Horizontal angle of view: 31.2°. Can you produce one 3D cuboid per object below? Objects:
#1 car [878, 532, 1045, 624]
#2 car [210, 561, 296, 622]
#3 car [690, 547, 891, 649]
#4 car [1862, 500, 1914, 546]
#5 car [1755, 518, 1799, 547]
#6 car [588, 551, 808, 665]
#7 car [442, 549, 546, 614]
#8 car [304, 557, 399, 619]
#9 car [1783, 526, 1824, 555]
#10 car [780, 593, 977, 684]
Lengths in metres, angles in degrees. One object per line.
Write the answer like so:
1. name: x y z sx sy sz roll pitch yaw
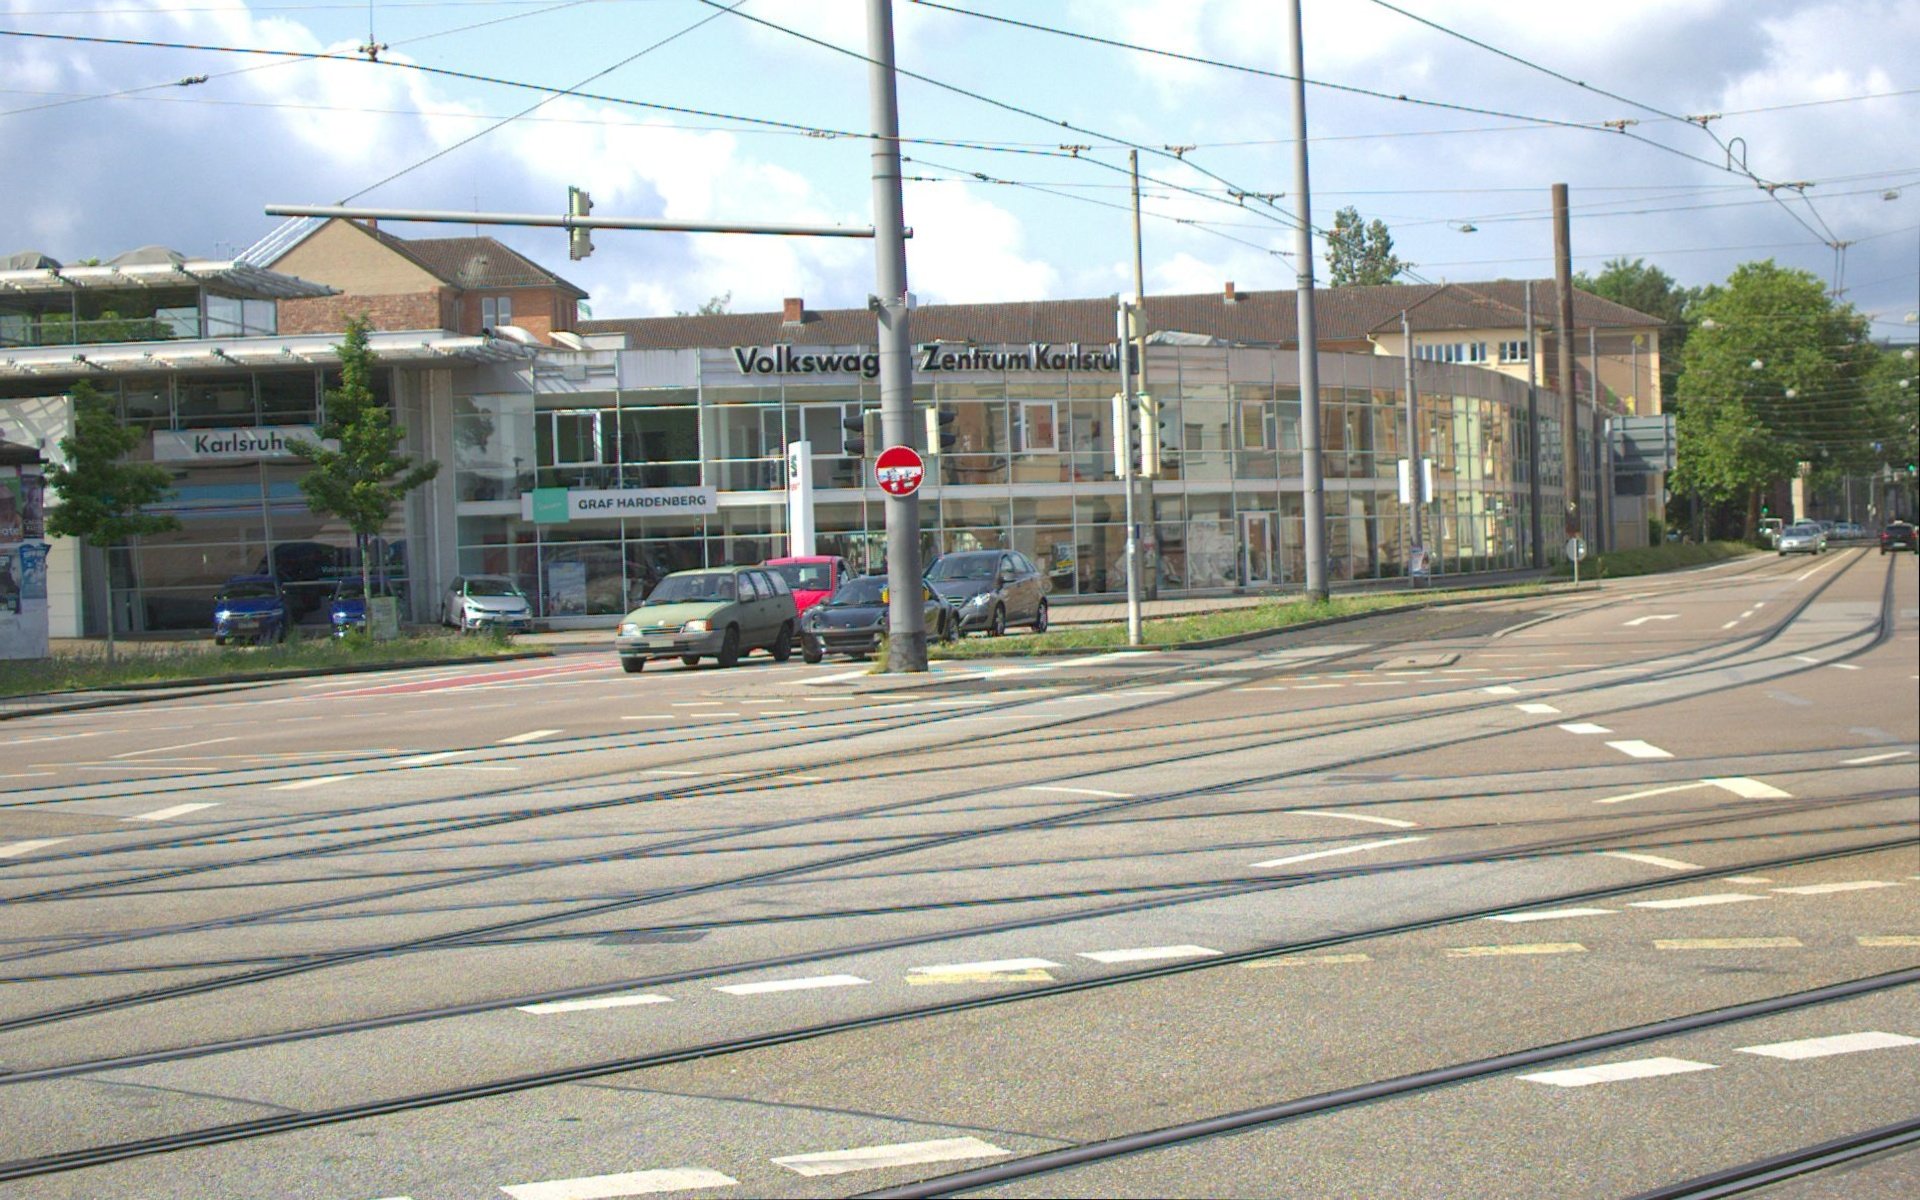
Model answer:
1. car: 0.069 -0.416 62.593 1.995 1.546 3.997 -2 1 16
2. car: -17.688 -0.234 86.141 1.919 1.440 4.001 -2 1 -9
3. car: -2.689 -0.056 55.453 1.995 1.514 3.997 2 1 16
4. car: 42.534 -3.538 157.567 1.995 2.007 3.997 -2 1 19
5. car: 40.135 -3.325 168.937 1.994 1.327 3.998 -2 1 12
6. car: -3.714 0.085 49.365 1.822 1.508 3.997 2 1 16
7. car: -11.764 -0.490 87.040 1.919 1.546 4.000 -2 1 2
8. car: -15.147 -0.310 85.739 1.919 1.440 4.001 -2 1 -5
9. car: 44.509 -3.130 181.436 1.995 1.486 3.998 1 1 13
10. car: -1.106 0.514 48.708 1.622 1.157 3.997 2 1 16
